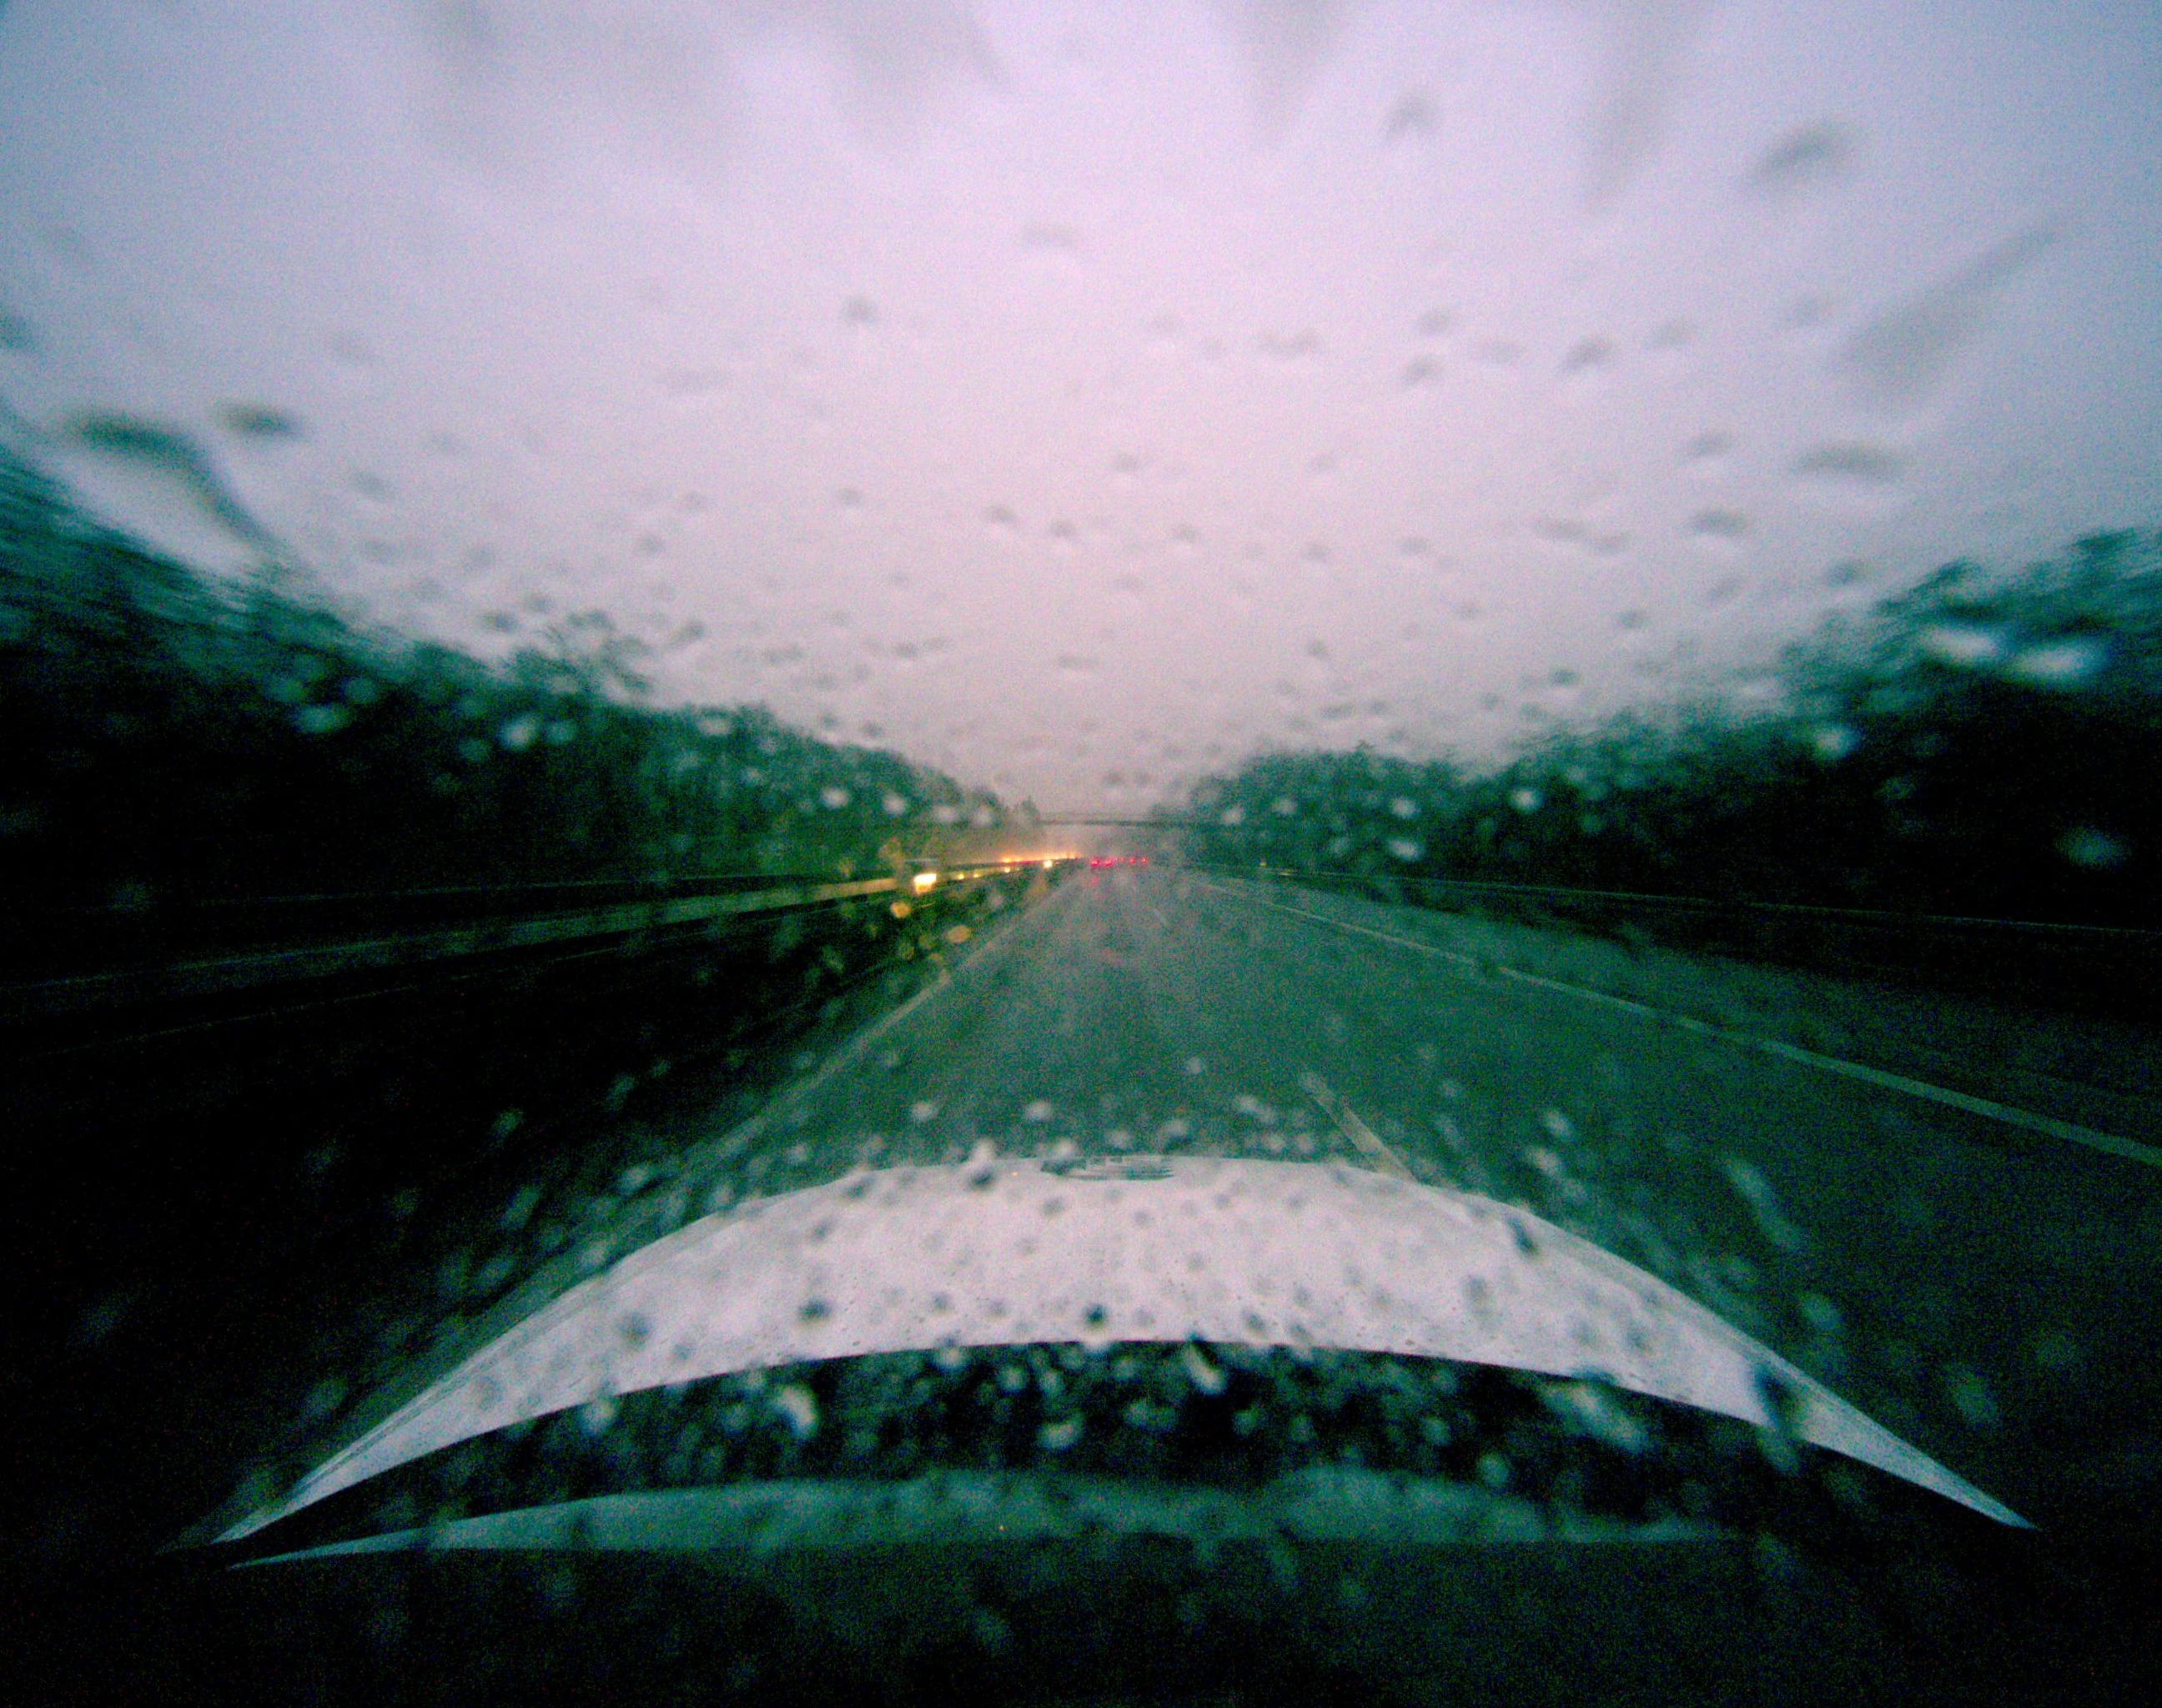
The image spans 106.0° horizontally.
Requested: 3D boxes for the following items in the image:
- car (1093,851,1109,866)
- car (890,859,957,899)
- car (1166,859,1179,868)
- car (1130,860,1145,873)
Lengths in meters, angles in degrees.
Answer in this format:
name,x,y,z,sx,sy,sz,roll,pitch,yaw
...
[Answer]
name,x,y,z,sx,sy,sz,roll,pitch,yaw
car,1.833,0.387,73.375,1.448,1.344,3.491,0,0,2
car,-6.421,0.984,33.687,1.678,1.533,4.578,1,0,2
car,12.929,1.326,115.039,1.448,1.344,3.491,0,0,2
car,6.264,1.331,90.308,1.448,1.429,3.491,-1,0,2
